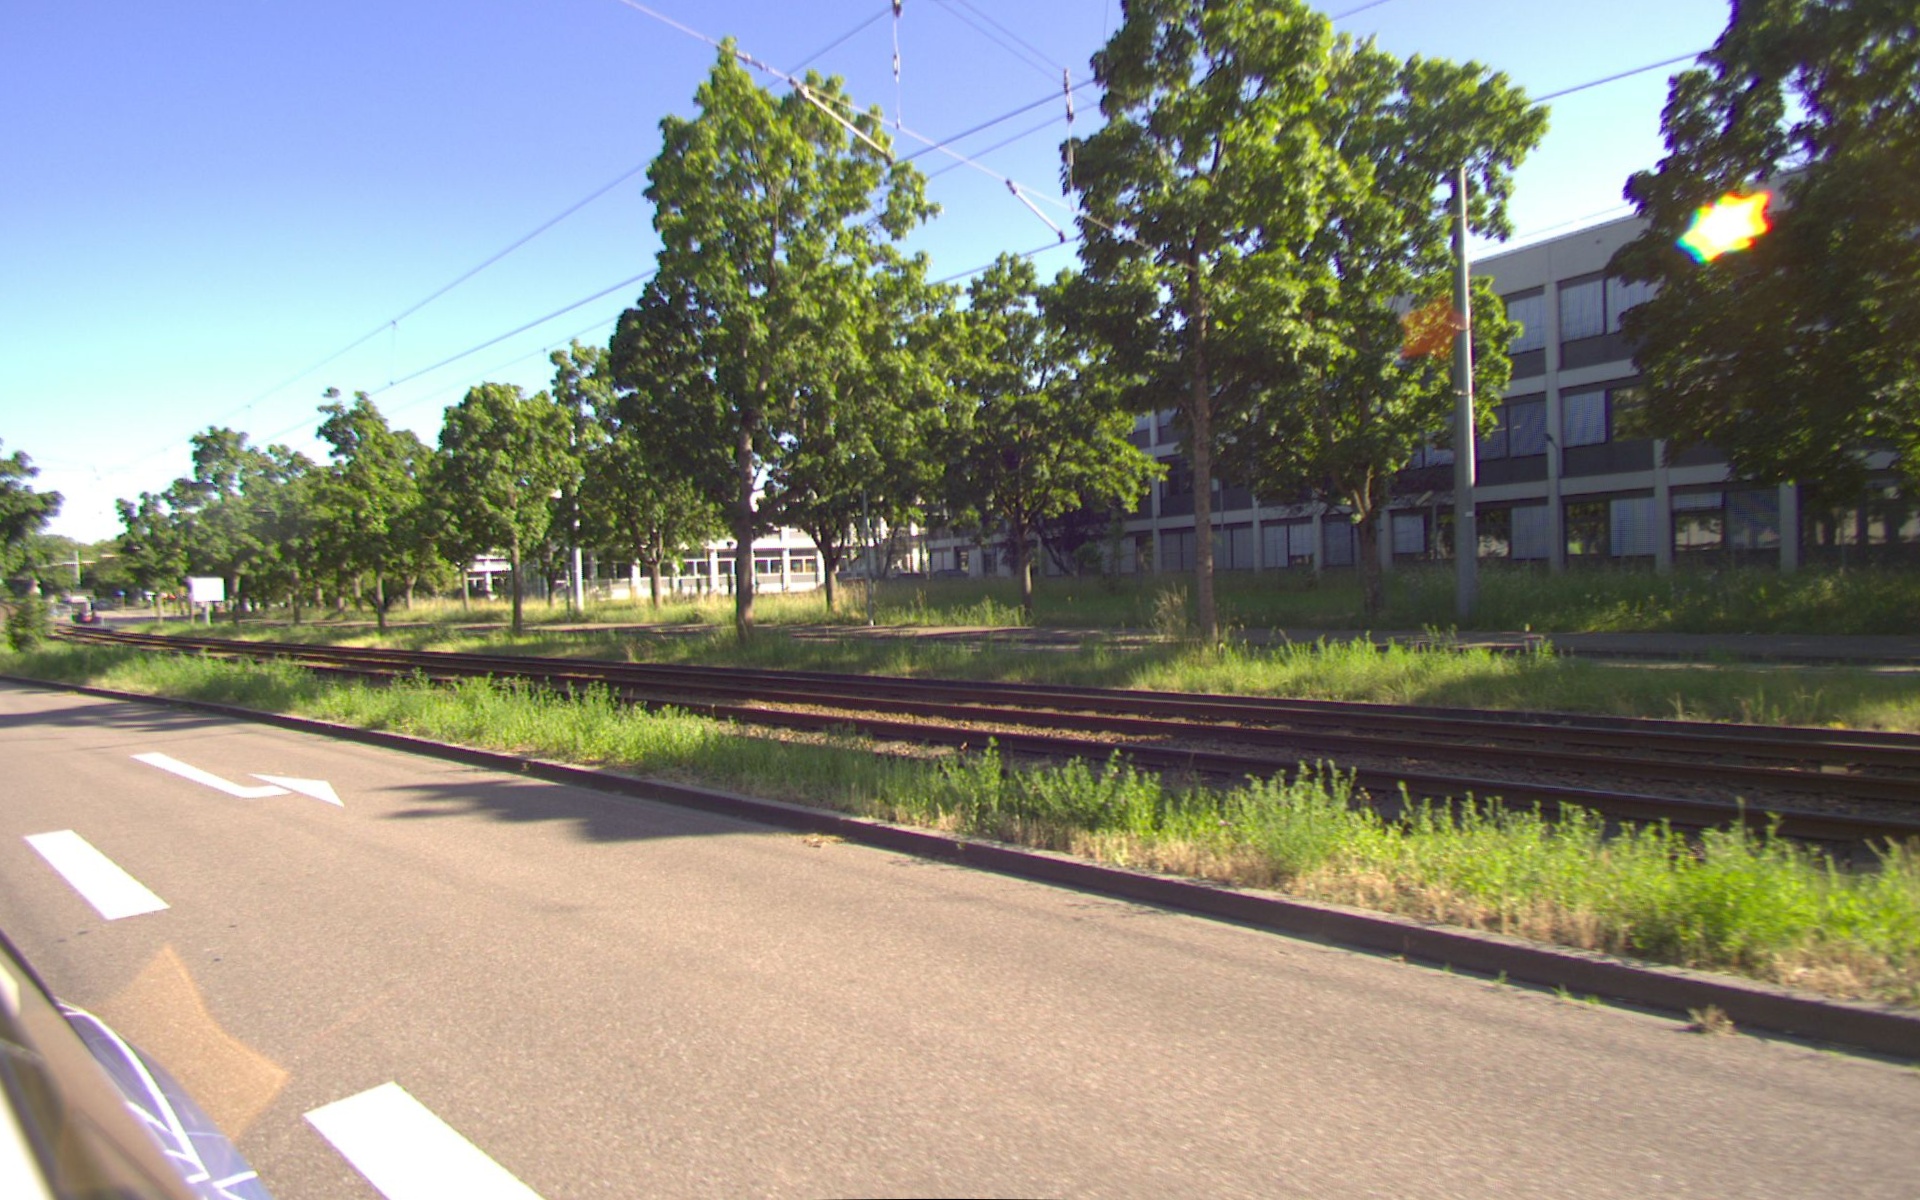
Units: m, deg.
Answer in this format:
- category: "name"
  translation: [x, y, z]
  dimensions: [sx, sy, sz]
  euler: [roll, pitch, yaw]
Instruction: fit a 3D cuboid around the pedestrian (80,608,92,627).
- category: "pedestrian"
  translation: [-84.966, 1.726, 98.401]
  dimensions: [0.782, 1.764, 0.775]
  euler: [-1, 2, 43]
